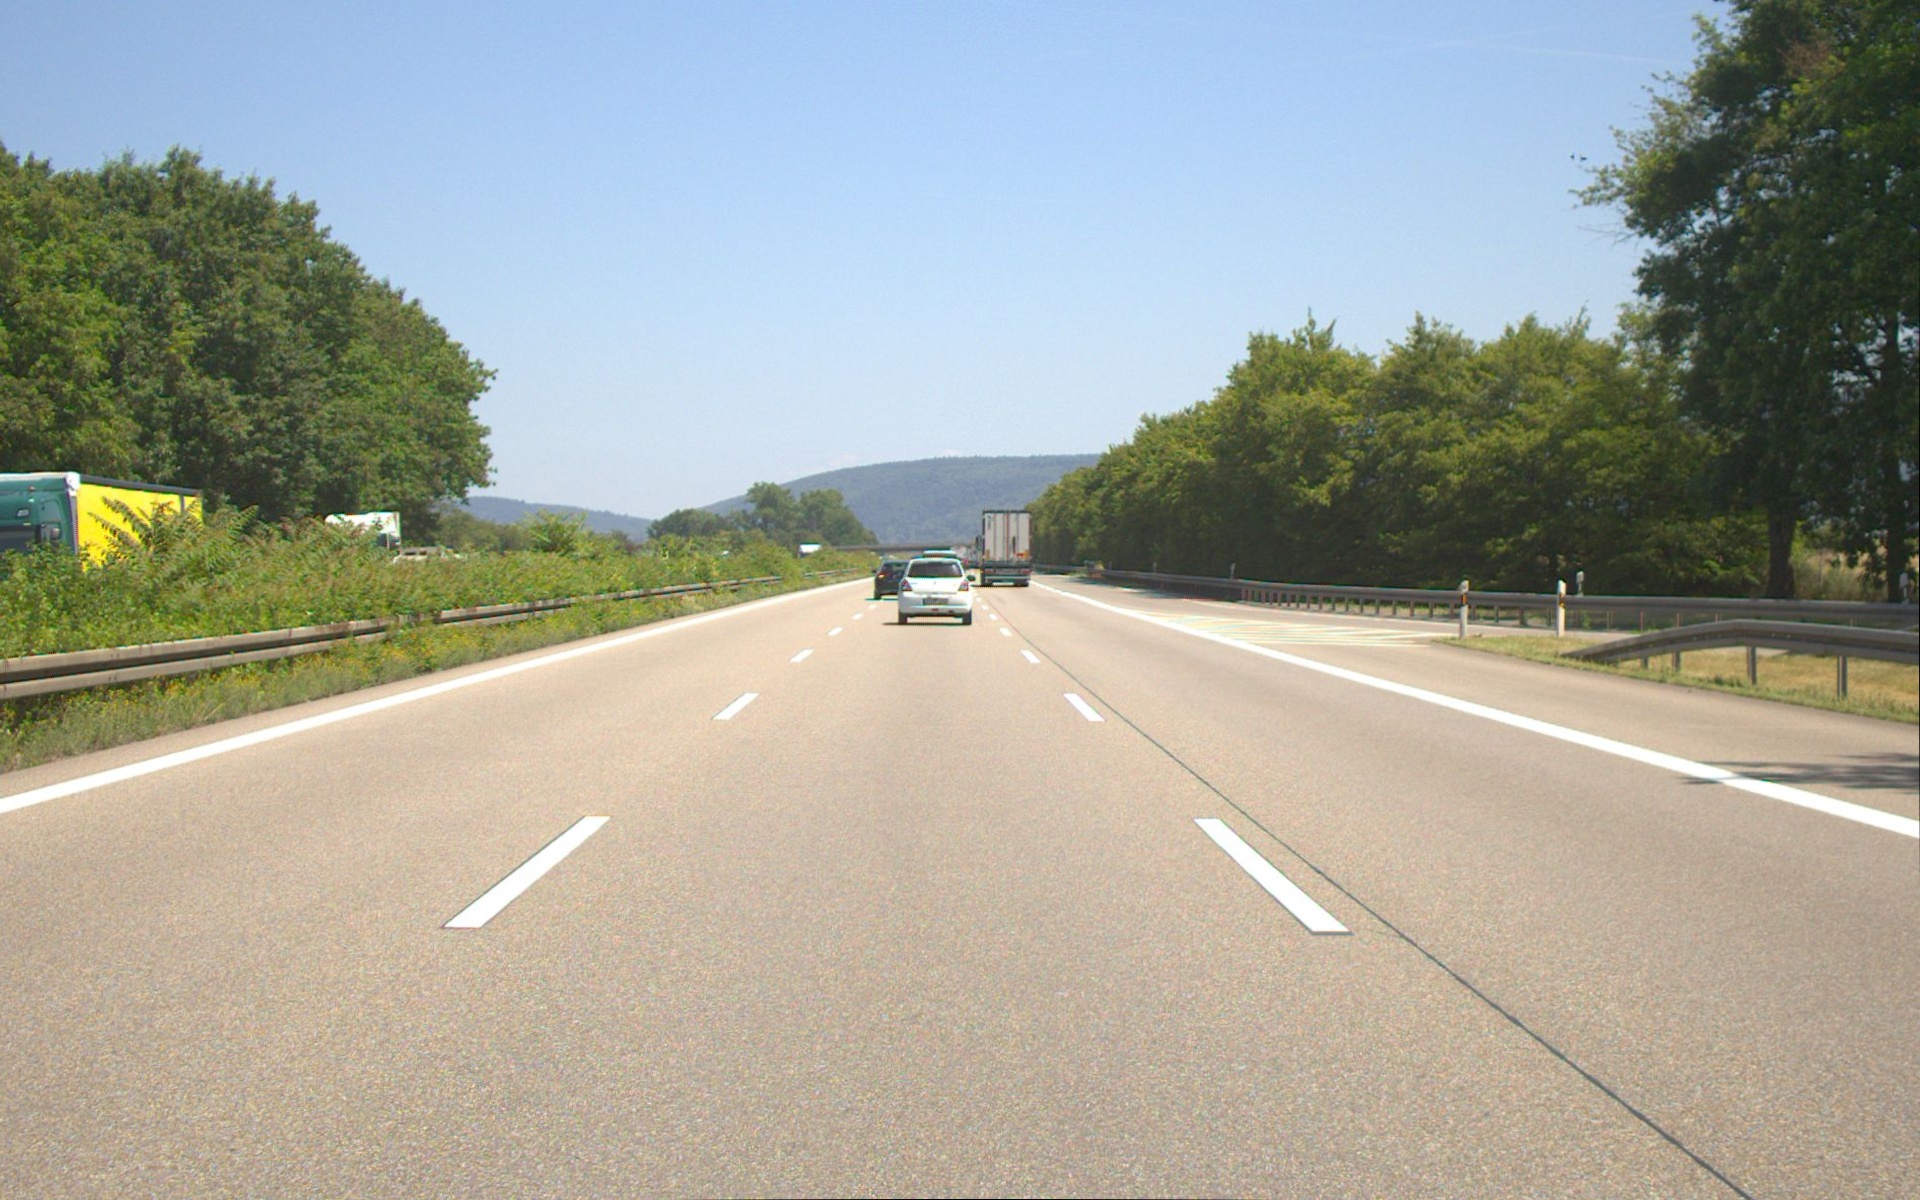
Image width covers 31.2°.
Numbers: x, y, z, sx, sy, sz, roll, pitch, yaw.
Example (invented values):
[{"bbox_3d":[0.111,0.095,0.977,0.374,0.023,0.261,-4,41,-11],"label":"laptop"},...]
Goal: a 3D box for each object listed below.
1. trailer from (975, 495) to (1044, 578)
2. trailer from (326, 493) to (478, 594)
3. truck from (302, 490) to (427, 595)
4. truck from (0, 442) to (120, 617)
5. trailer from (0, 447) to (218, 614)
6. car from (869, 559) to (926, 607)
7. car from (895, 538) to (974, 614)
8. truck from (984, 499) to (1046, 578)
[{"bbox_3d":[2.775,-3.392,186.974,3.218,4.330,13.628,1,1,3],"label":"trailer"},{"bbox_3d":[-21.135,-2.122,131.210,3.198,3.567,15.969,1,1,0],"label":"trailer"},{"bbox_3d":[-21.112,-2.021,122.273,3.198,3.567,6.996,1,1,0],"label":"truck"},{"bbox_3d":[-21.524,-1.597,78.405,3.197,3.812,6.395,1,1,-1],"label":"truck"},{"bbox_3d":[-21.640,-1.687,86.200,3.197,3.812,14.024,1,1,-1],"label":"trailer"},{"bbox_3d":[-2.251,-0.626,124.500,1.993,1.706,4.000,1,1,-1],"label":"car"},{"bbox_3d":[-0.601,-0.570,78.793,1.732,1.678,4.000,-1,1,-1],"label":"car"},{"bbox_3d":[3.148,-3.470,194.430,3.218,4.330,6.590,1,1,3],"label":"truck"}]
